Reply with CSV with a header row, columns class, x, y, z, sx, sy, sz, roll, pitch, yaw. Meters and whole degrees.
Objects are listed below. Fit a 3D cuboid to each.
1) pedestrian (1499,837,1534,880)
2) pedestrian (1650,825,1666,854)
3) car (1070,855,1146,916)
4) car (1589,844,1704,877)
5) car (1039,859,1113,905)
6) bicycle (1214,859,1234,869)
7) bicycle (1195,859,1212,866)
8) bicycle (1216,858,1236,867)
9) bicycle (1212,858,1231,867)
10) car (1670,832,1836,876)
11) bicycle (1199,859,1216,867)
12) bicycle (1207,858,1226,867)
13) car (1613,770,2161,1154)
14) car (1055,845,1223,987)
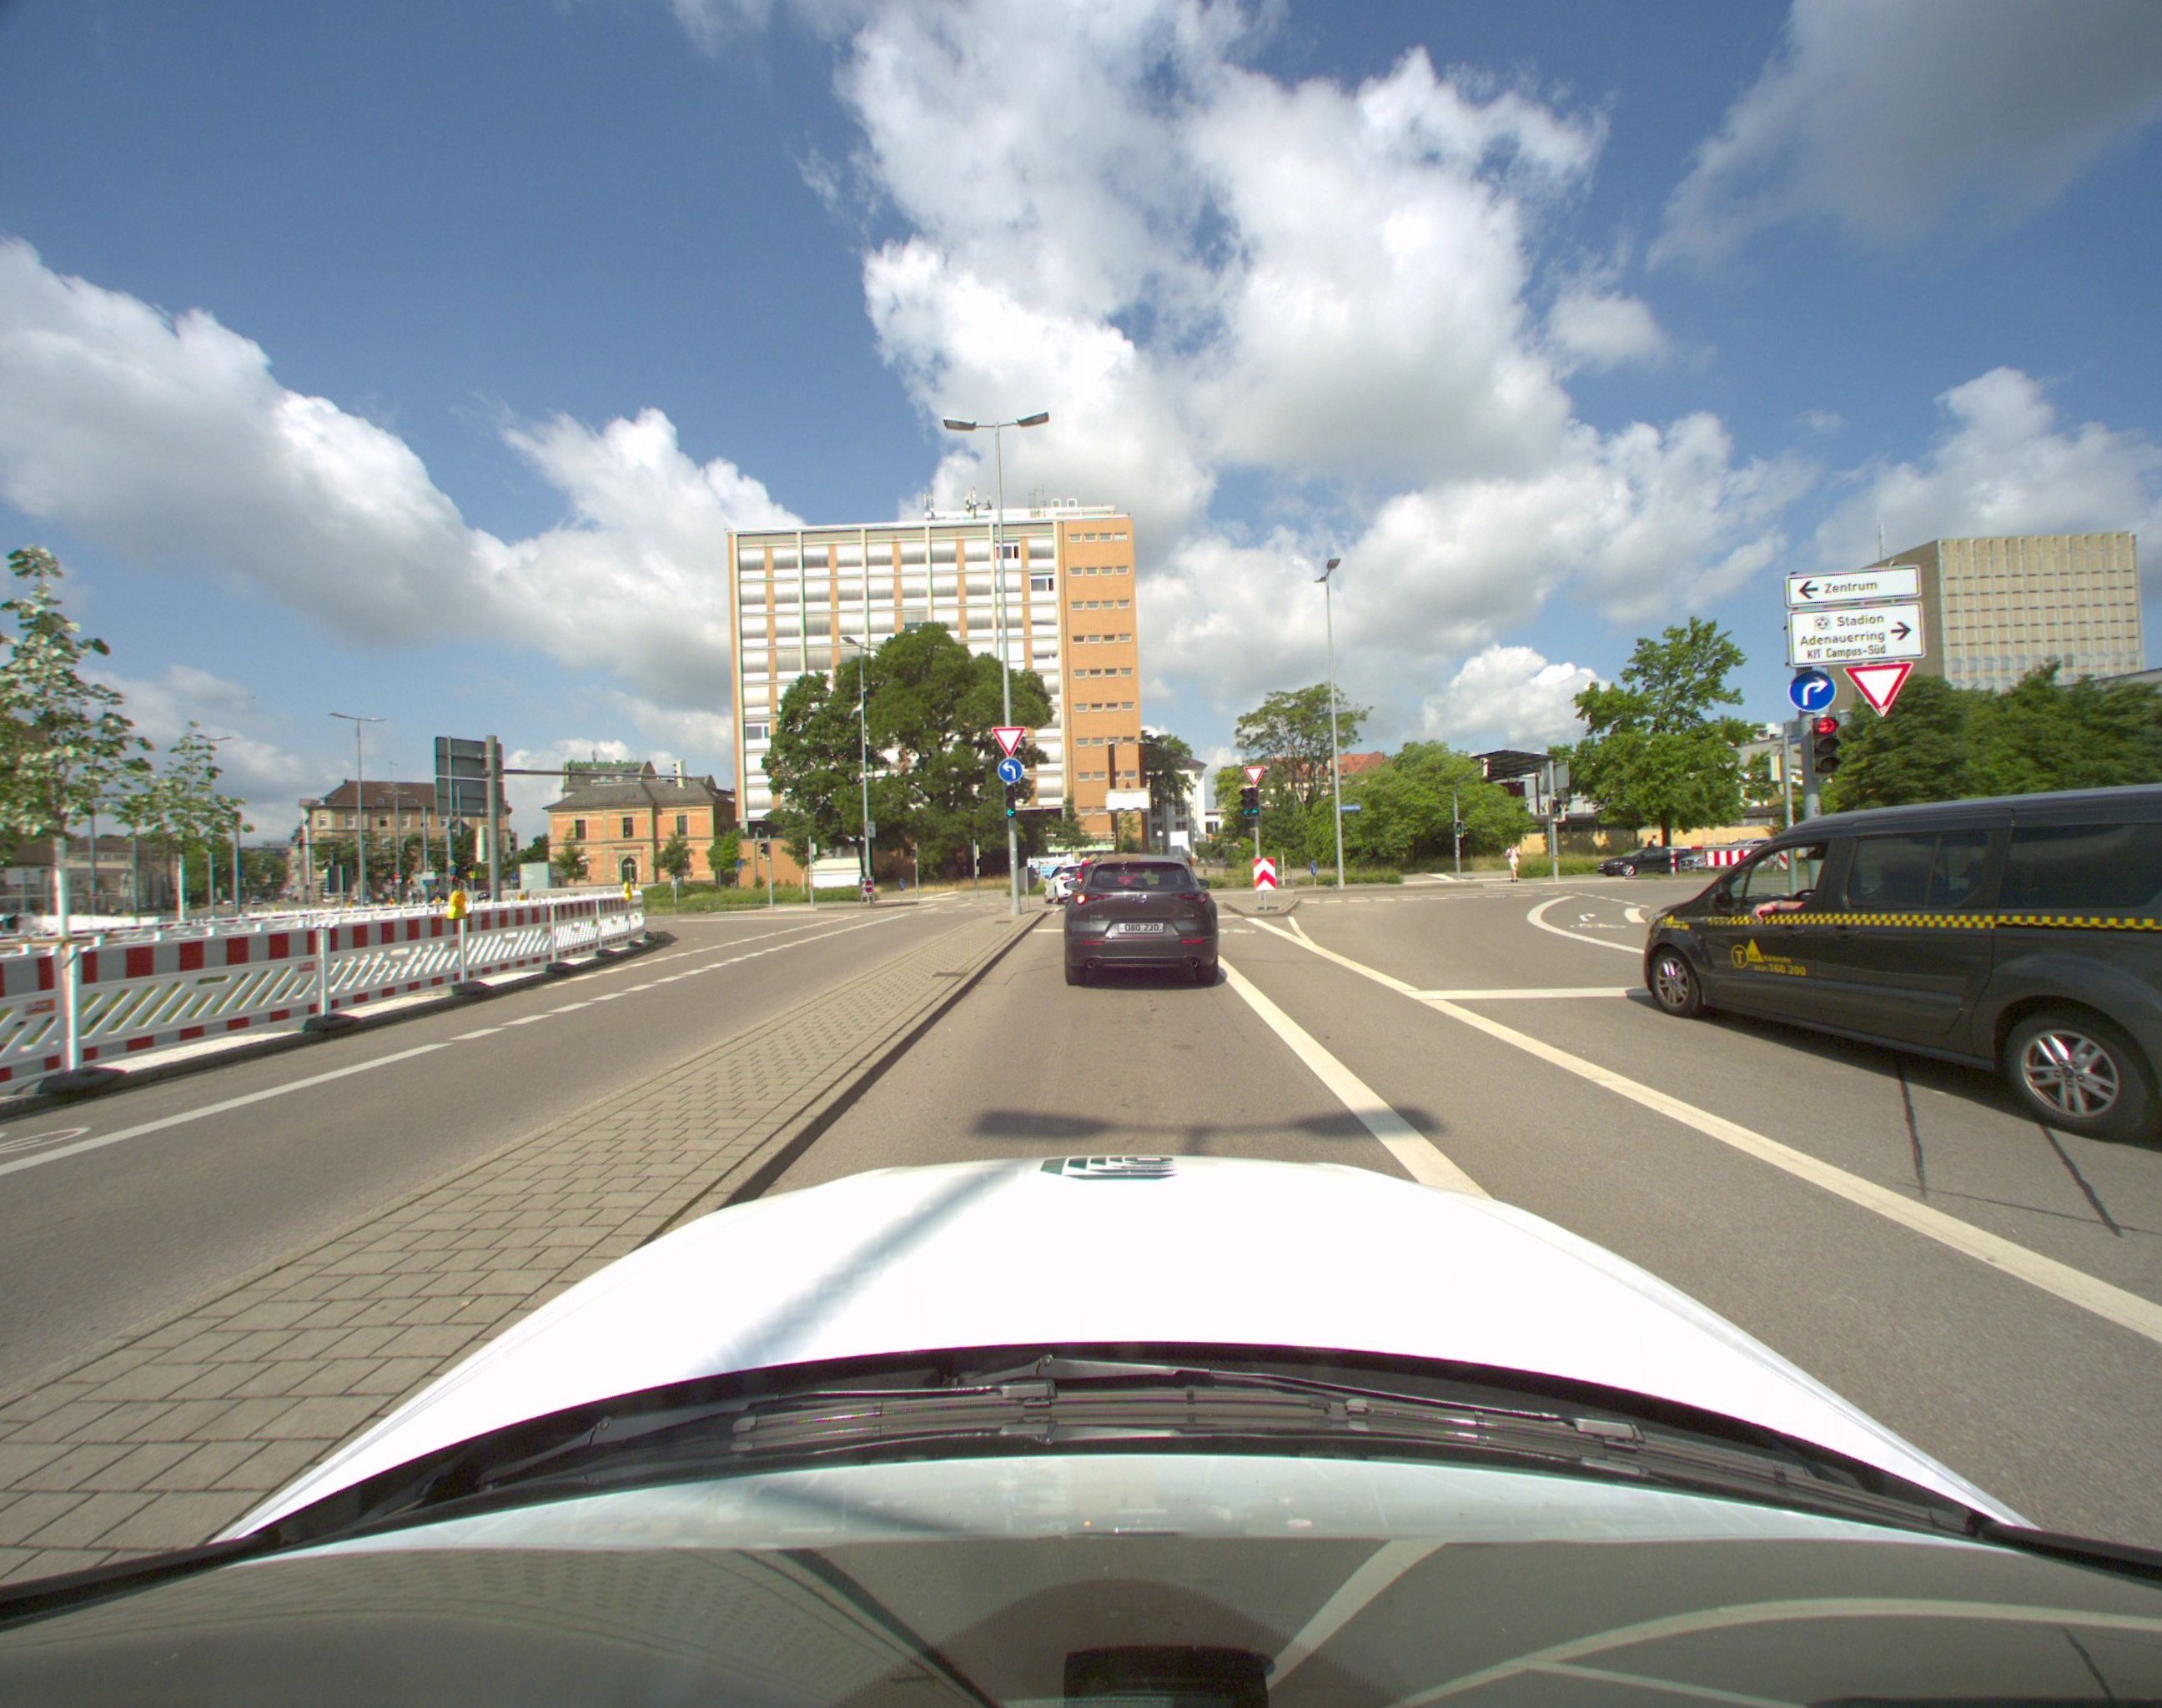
class,x,y,z,sx,sy,sz,roll,pitch,yaw
pedestrian,19.812,0.201,37.088,0.696,1.857,1.177,-3,-3,-9
pedestrian,33.199,-0.829,46.829,0.521,1.608,0.542,0,-1,-2
car,0.706,0.768,21.647,1.809,1.439,4.069,-1,0,2
car,27.518,0.290,39.735,4.129,1.377,2.002,-3,0,3
car,-0.271,0.991,29.992,1.849,1.472,4.317,-3,0,-12
bicycle,15.769,1.099,89.846,2.048,0.936,0.804,-3,-1,0
bicycle,16.063,1.116,106.901,2.048,0.936,0.804,-3,-1,0
bicycle,16.458,1.018,92.532,2.048,0.936,0.804,-3,-1,0
bicycle,16.175,1.028,93.838,2.048,0.936,0.804,-3,-1,0
car,26.793,0.041,32.642,4.740,1.442,2.065,-3,-3,6
bicycle,15.828,1.086,102.044,2.048,0.936,0.804,-3,-1,0
bicycle,16.176,1.052,97.299,2.048,0.936,0.804,-3,-1,0
car,6.060,0.486,5.686,1.841,1.785,4.676,-1,0,4
car,0.675,0.670,10.822,1.799,1.508,4.206,0,0,1
